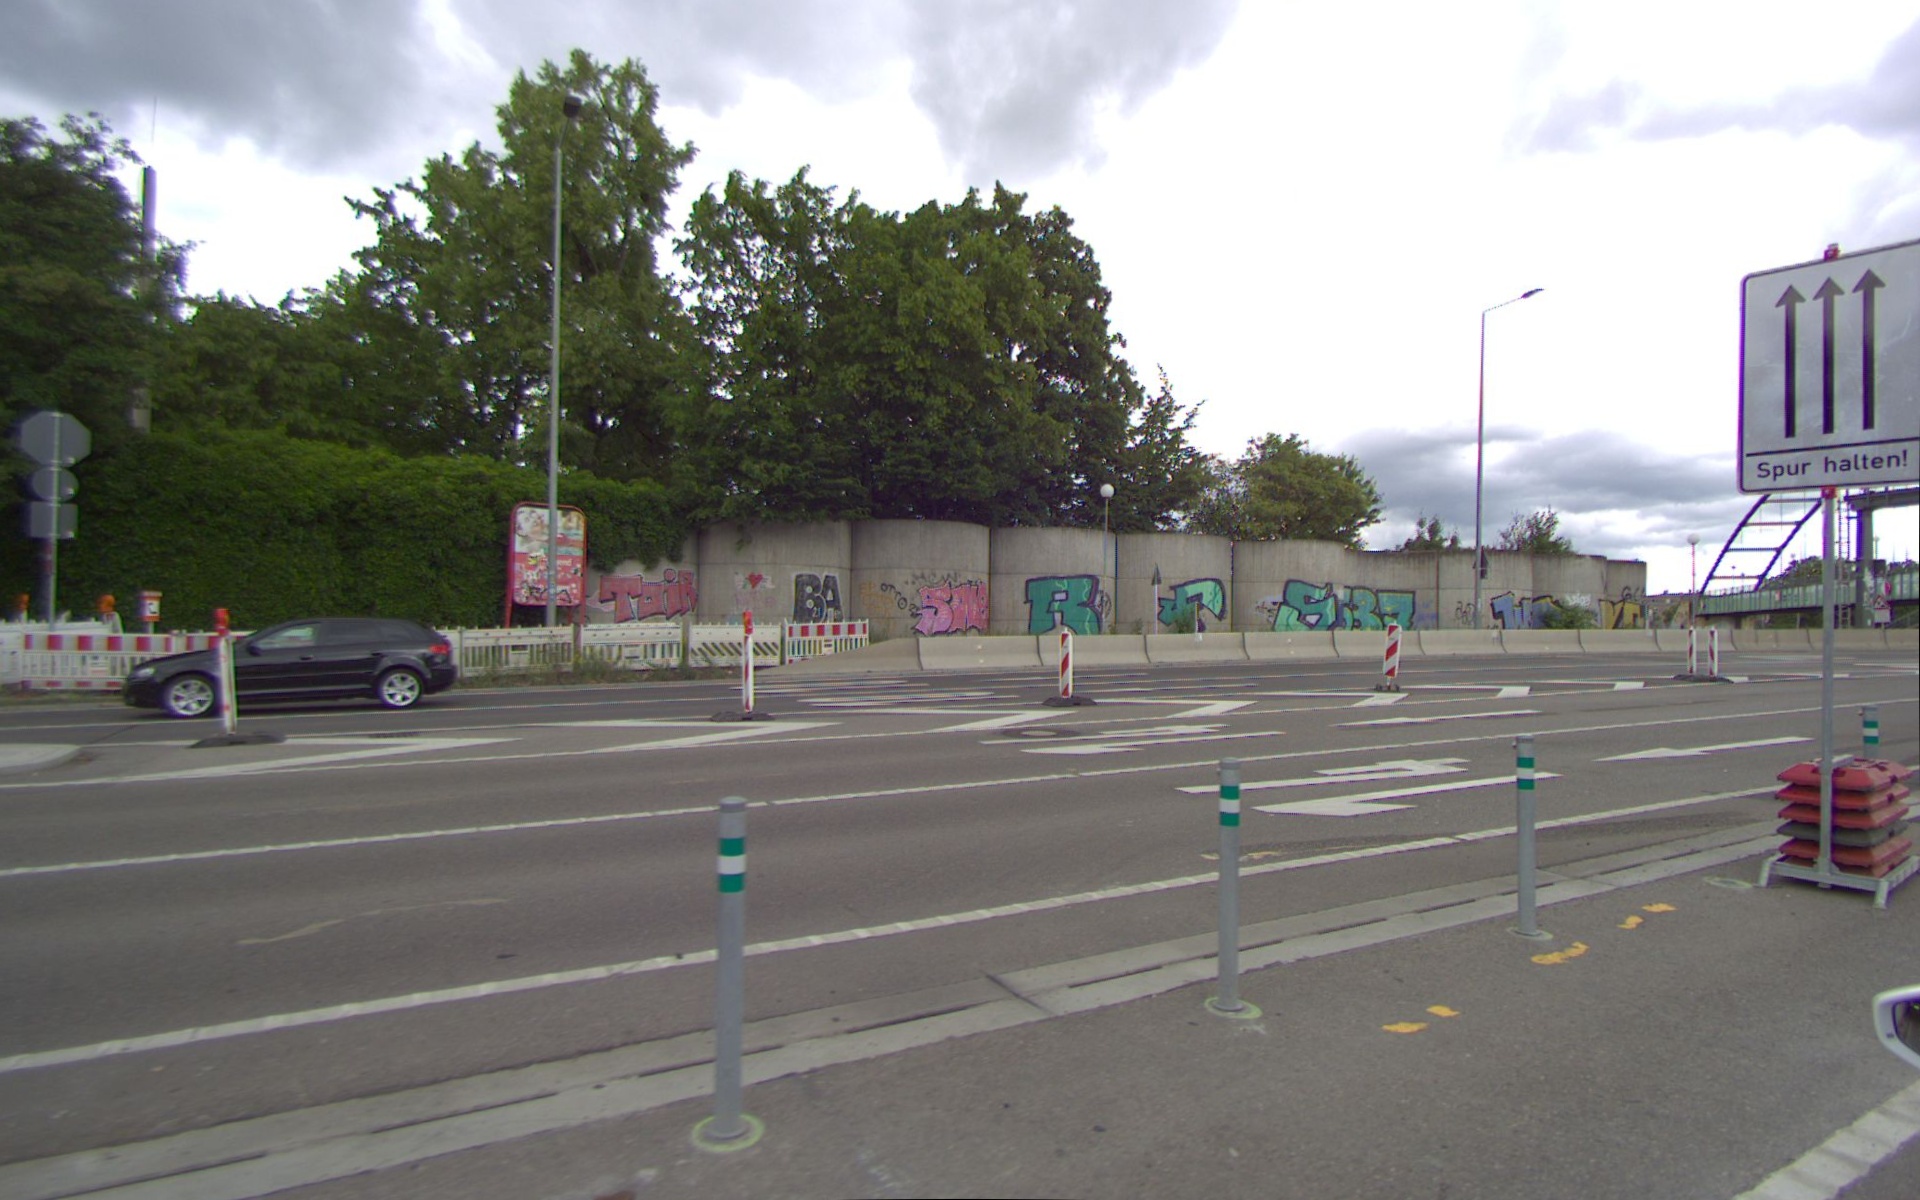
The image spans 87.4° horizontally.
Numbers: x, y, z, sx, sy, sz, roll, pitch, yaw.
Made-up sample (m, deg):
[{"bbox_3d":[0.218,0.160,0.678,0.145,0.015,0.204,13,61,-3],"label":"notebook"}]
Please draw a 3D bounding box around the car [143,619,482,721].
[{"bbox_3d":[-9.774,0.999,15.493,4.150,1.368,1.853,1,-1,-32],"label":"car"}]
